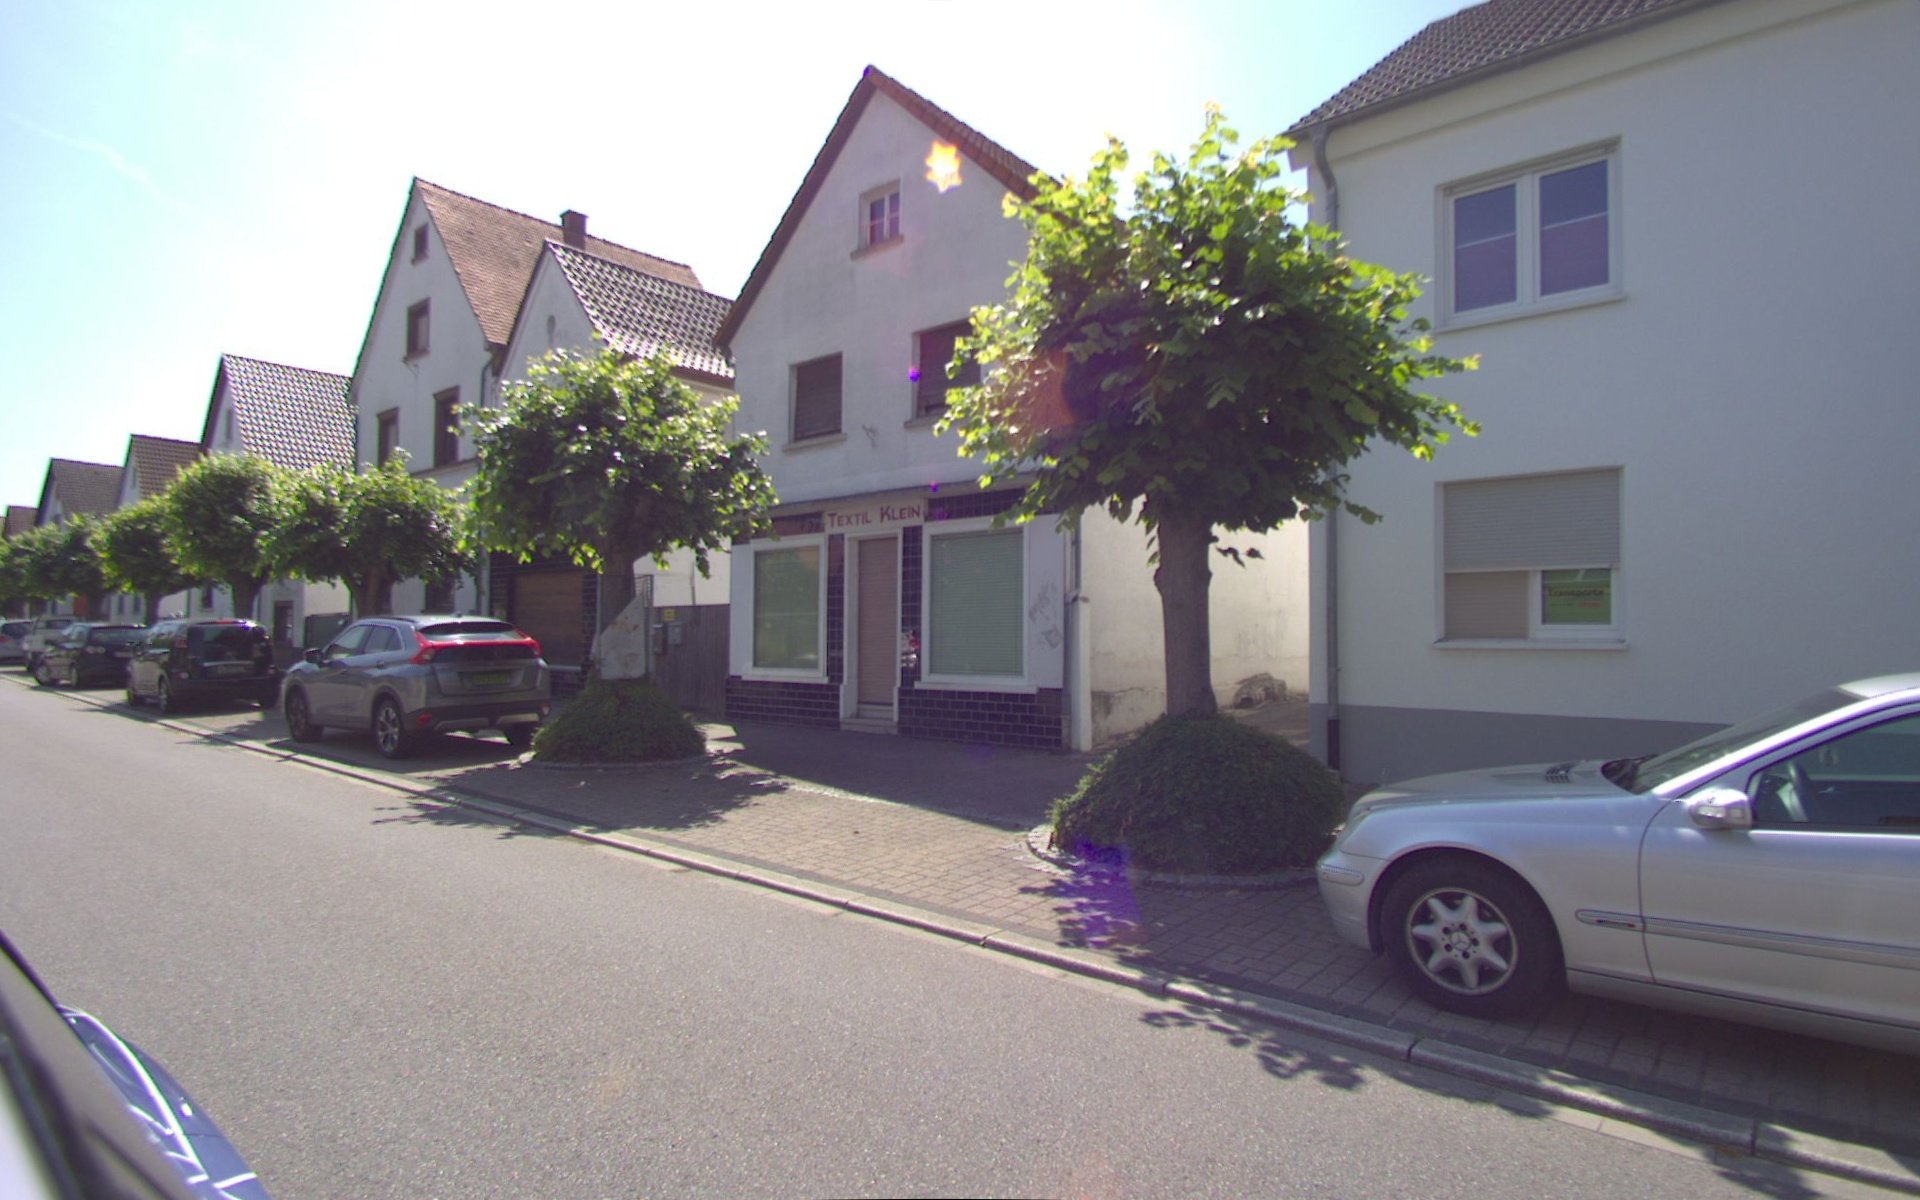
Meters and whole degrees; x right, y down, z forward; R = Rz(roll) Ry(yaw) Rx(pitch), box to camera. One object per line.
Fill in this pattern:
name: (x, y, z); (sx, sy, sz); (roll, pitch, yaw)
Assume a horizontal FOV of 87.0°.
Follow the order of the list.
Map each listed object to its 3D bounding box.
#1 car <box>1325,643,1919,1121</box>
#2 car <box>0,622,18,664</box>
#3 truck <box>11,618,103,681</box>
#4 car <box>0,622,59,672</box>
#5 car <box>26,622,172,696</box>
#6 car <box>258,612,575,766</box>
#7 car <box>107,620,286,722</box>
car: (3.797, 0.886, 3.525); (4.403, 1.406, 1.822); (-1, -2, 40)
car: (-39.516, 1.747, 40.746); (4.296, 1.649, 1.834); (-2, -1, 41)
truck: (-27.681, 1.457, 30.990); (4.189, 1.778, 1.560); (-1, -1, 41)
car: (-33.818, 1.637, 36.206); (4.368, 1.625, 1.834); (-1, 0, 41)
car: (-21.038, 1.371, 24.695); (3.991, 1.646, 1.770); (-1, -1, 35)
car: (-7.115, 1.034, 13.105); (4.360, 1.665, 1.975); (-1, -3, 37)
car: (-14.194, 1.219, 18.753); (4.054, 1.647, 1.834); (-1, -1, 41)
